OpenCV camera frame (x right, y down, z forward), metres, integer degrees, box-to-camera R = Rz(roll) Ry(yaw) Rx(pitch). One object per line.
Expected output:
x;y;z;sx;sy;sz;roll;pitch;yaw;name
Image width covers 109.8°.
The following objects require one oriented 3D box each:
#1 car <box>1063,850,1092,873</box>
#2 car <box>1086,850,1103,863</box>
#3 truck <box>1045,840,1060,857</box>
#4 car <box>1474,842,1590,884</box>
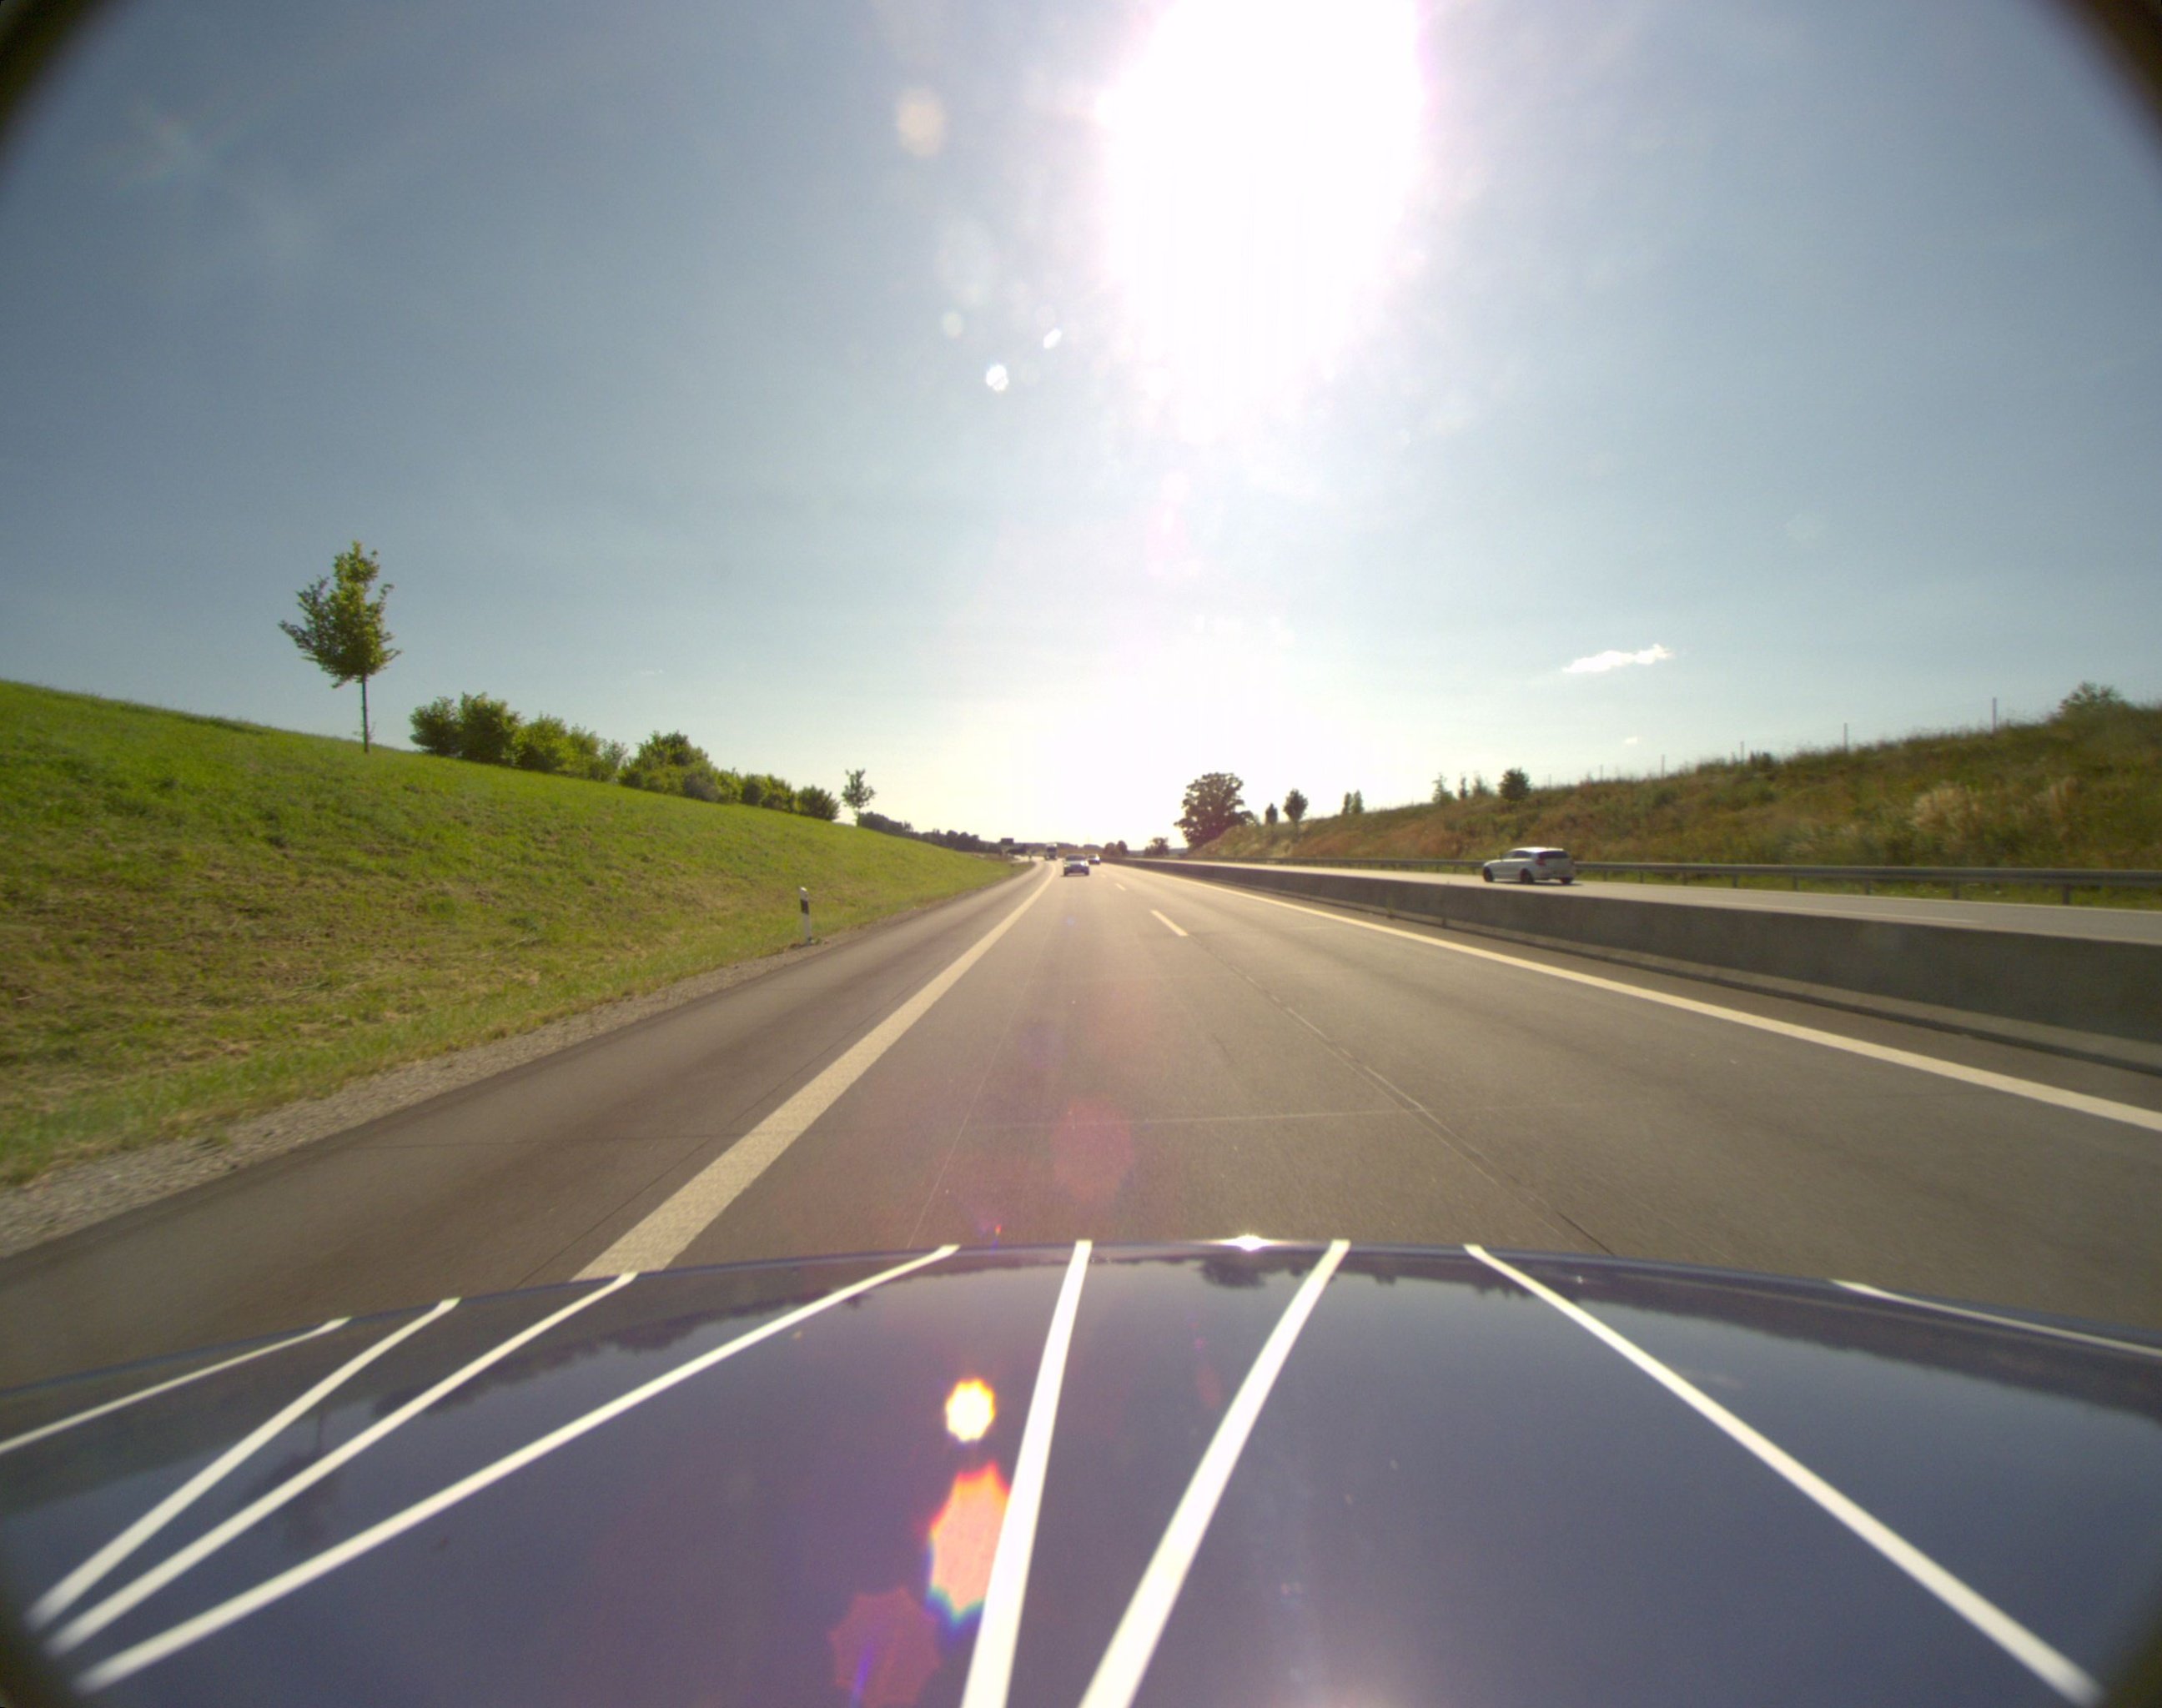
-0.278;0.511;55.250;1.892;1.565;3.791;-2;1;-2;car
1.804;0.304;100.708;1.900;1.560;3.998;-1;0;-4;car
-6.865;-1.342;182.395;3.092;3.991;6.184;-1;1;-7;truck
17.880;0.315;30.437;1.866;1.522;4.567;-1;0;-1;car
